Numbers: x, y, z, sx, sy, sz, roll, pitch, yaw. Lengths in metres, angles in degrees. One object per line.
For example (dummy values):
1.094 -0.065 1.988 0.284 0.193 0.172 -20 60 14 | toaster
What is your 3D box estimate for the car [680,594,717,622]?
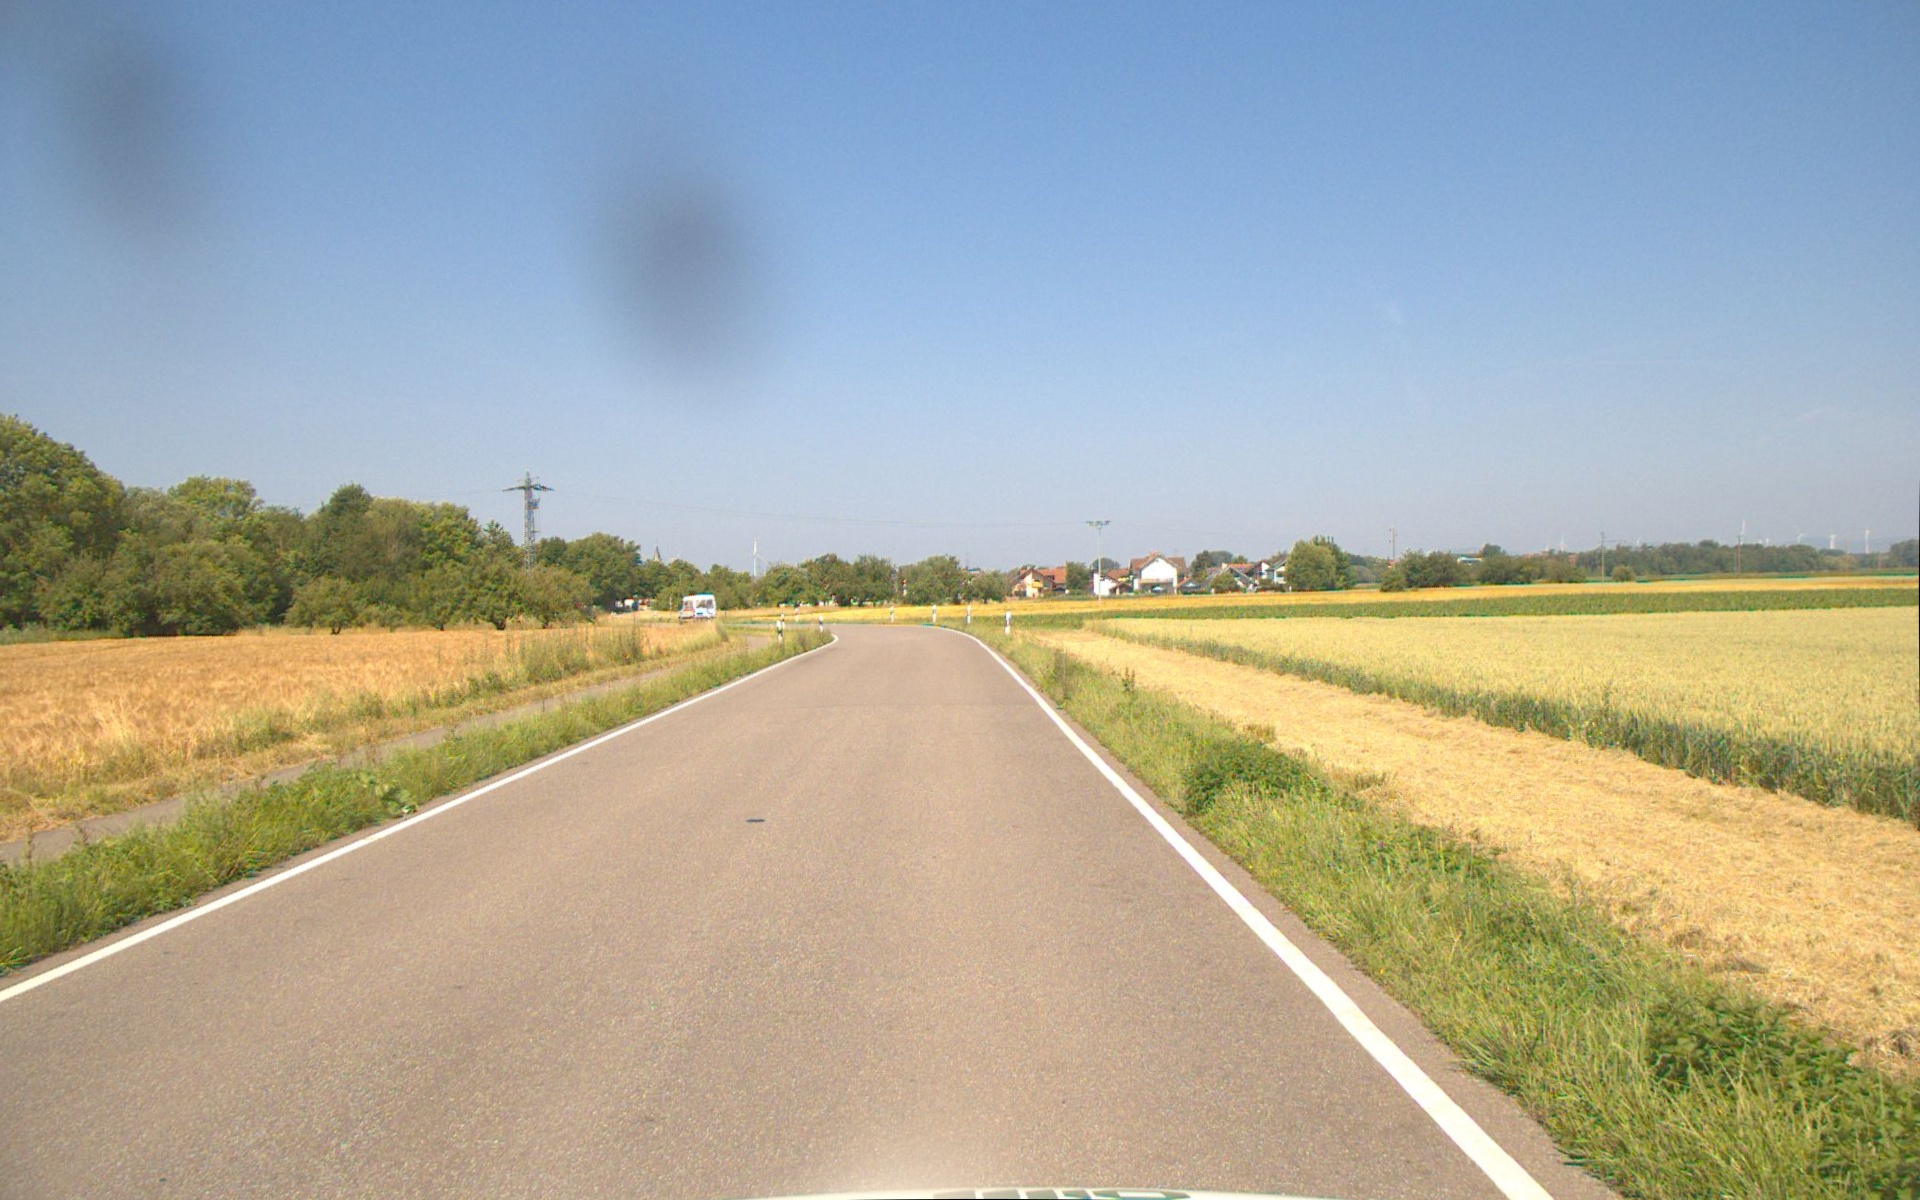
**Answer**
-22.427 0.691 141.727 1.967 2.305 4.693 -2 0 -23 | car
